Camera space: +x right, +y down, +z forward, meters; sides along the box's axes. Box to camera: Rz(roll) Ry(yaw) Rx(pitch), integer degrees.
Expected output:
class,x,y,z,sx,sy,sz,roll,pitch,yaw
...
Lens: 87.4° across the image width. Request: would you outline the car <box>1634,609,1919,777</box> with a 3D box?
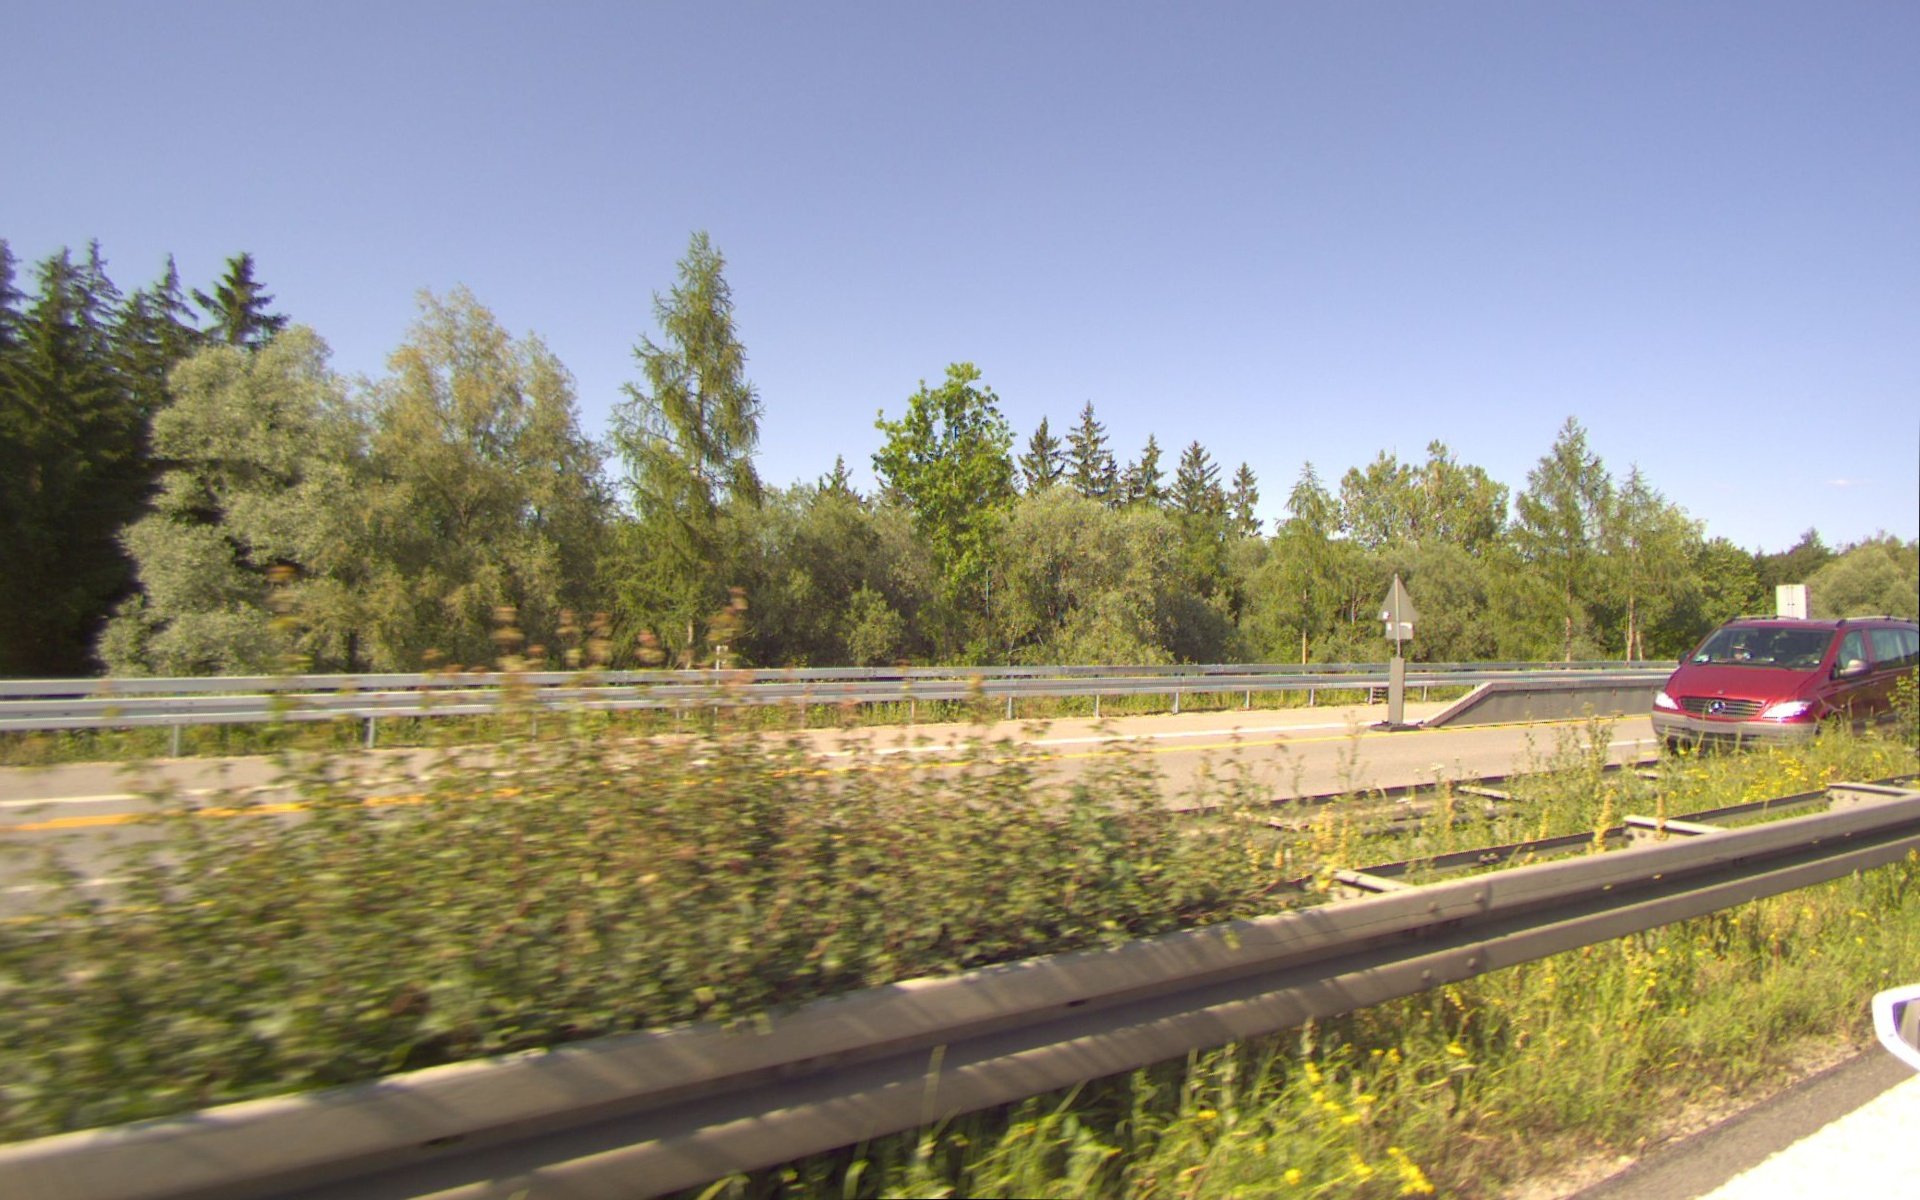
class,x,y,z,sx,sy,sz,roll,pitch,yaw
car,12.144,1.200,14.330,5.508,2.000,1.865,1,0,-29
